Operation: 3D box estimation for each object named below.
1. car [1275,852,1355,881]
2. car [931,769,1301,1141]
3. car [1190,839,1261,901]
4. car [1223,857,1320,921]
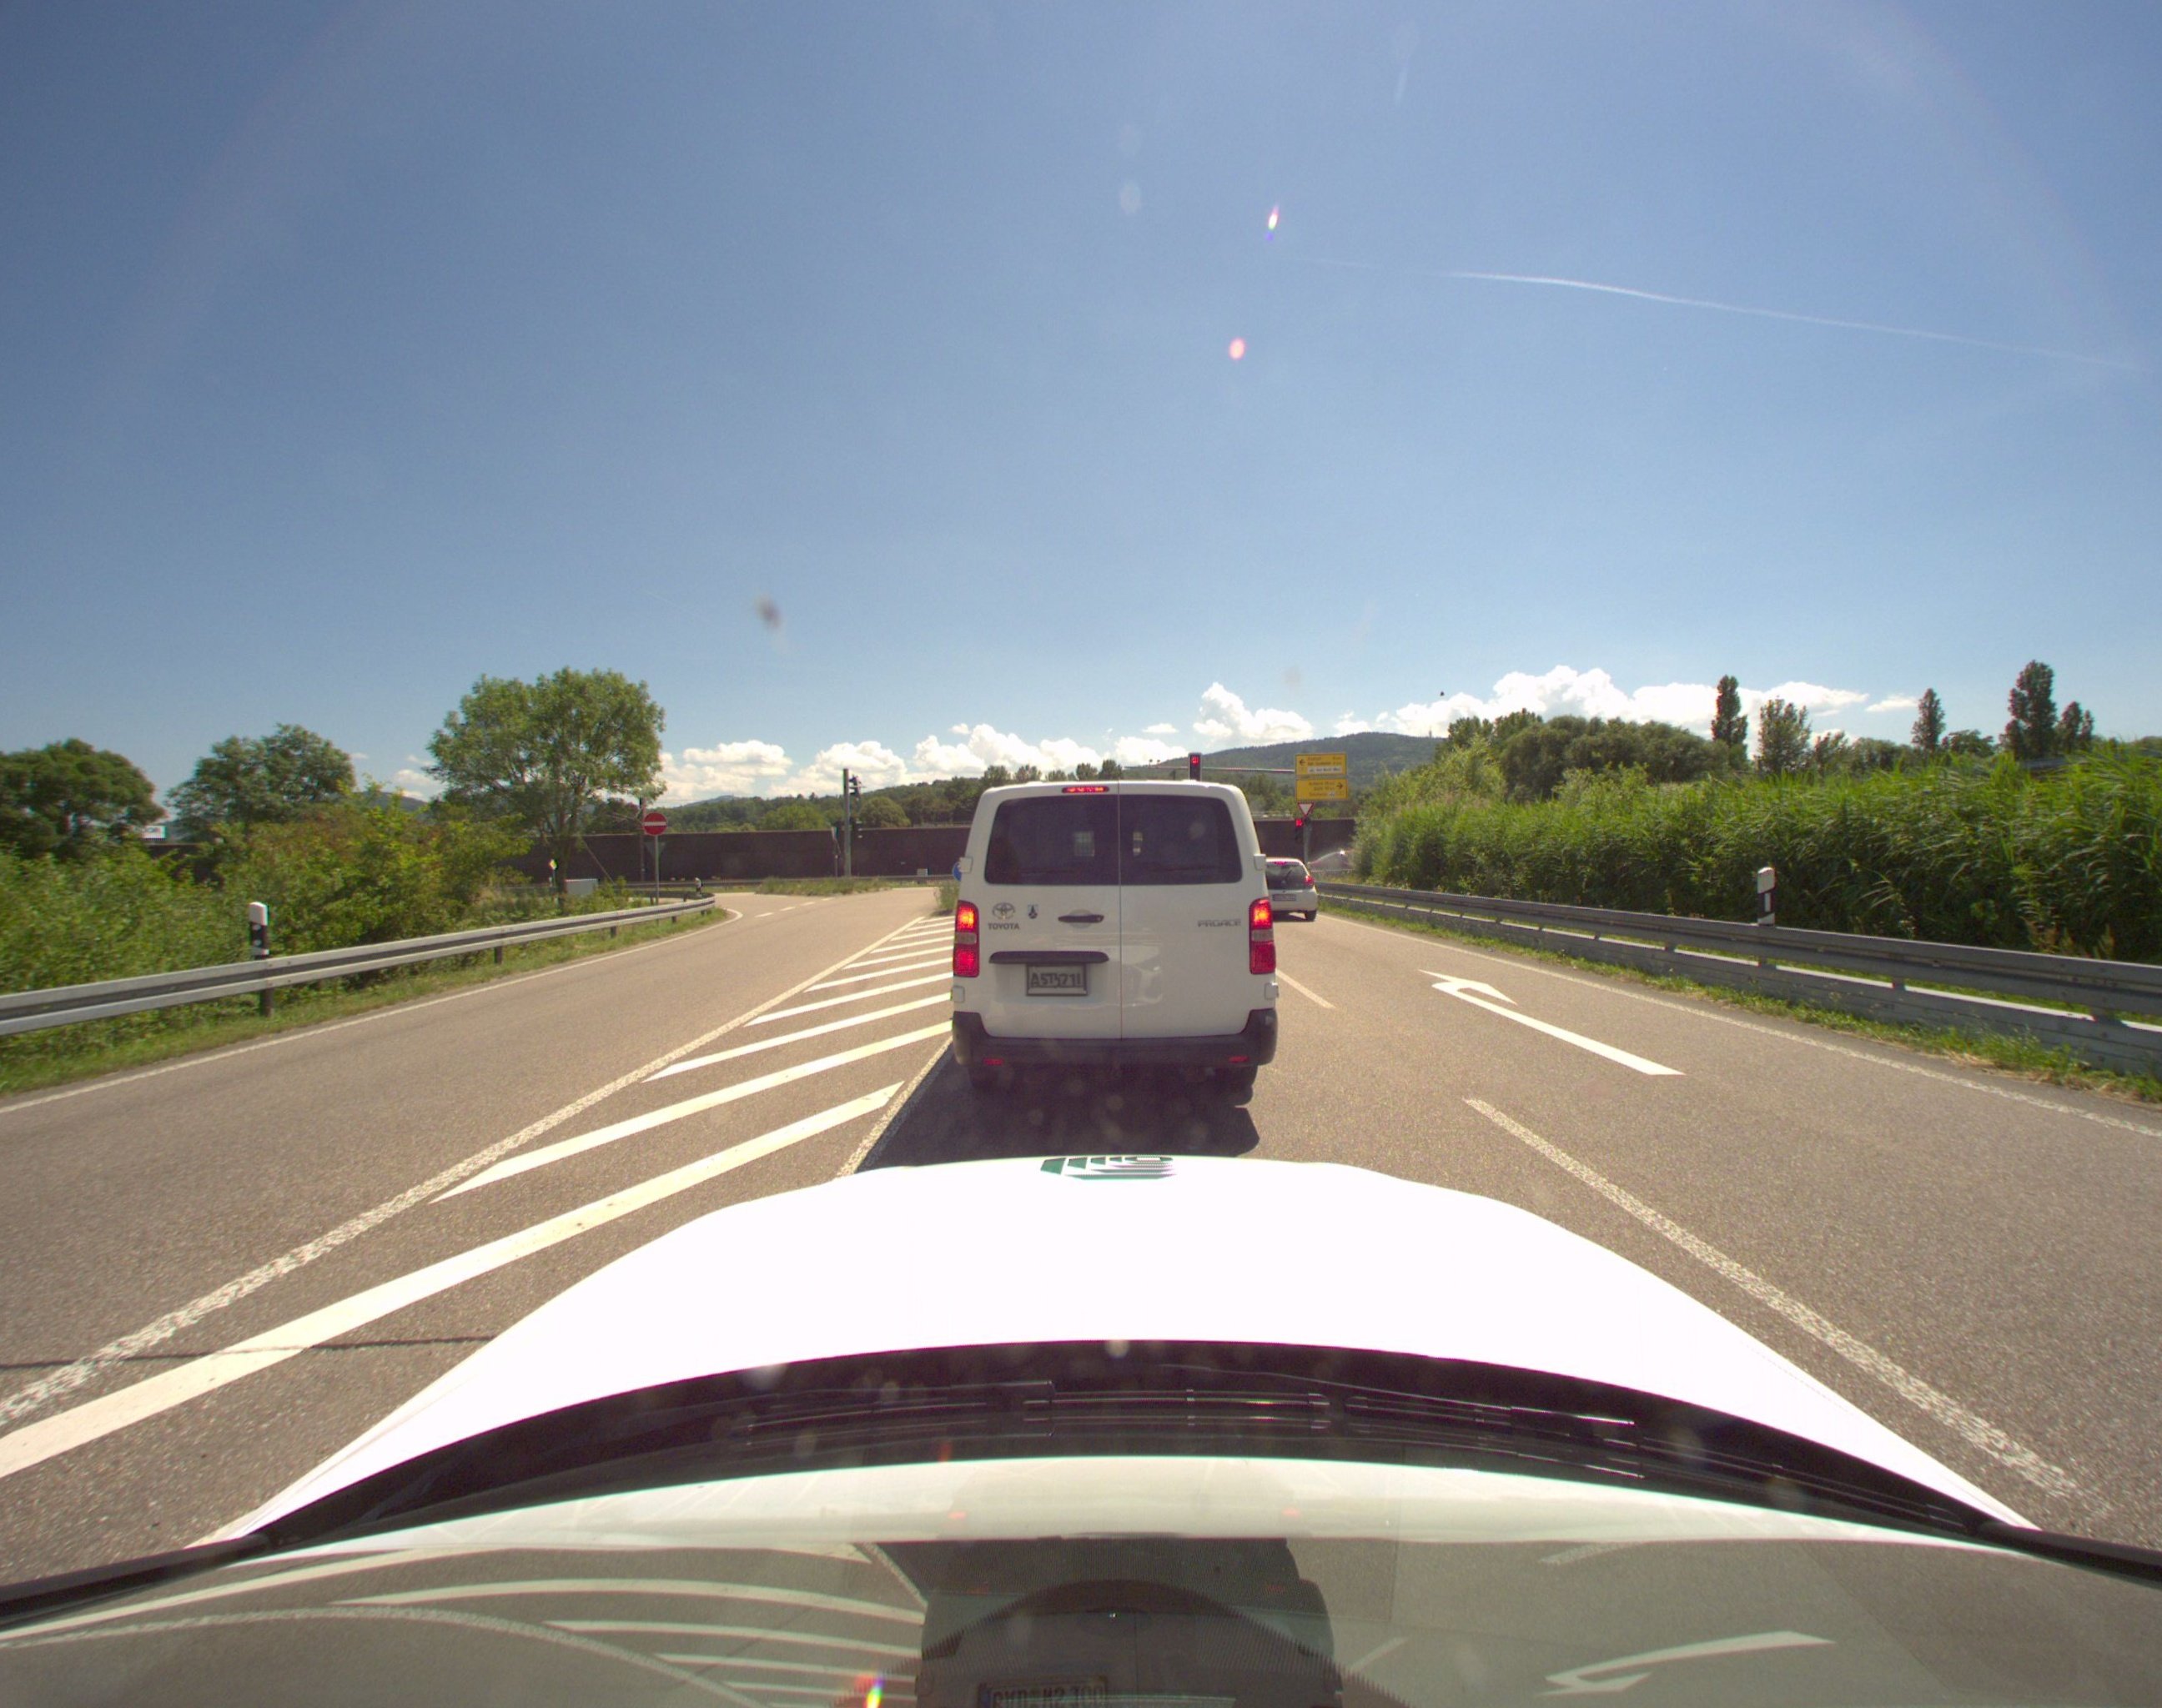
[{"bbox_3d":[14.327,0.750,50.066,4.298,1.656,1.999,-1,-1,-2],"label":"car"},{"bbox_3d":[0.224,0.528,6.170,1.880,1.886,4.001,0,0,1],"label":"car"},{"bbox_3d":[4.967,0.537,28.665,1.920,2.000,4.842,-1,0,4],"label":"car"},{"bbox_3d":[4.596,0.797,20.066,1.650,1.431,3.366,0,0,1],"label":"car"}]
